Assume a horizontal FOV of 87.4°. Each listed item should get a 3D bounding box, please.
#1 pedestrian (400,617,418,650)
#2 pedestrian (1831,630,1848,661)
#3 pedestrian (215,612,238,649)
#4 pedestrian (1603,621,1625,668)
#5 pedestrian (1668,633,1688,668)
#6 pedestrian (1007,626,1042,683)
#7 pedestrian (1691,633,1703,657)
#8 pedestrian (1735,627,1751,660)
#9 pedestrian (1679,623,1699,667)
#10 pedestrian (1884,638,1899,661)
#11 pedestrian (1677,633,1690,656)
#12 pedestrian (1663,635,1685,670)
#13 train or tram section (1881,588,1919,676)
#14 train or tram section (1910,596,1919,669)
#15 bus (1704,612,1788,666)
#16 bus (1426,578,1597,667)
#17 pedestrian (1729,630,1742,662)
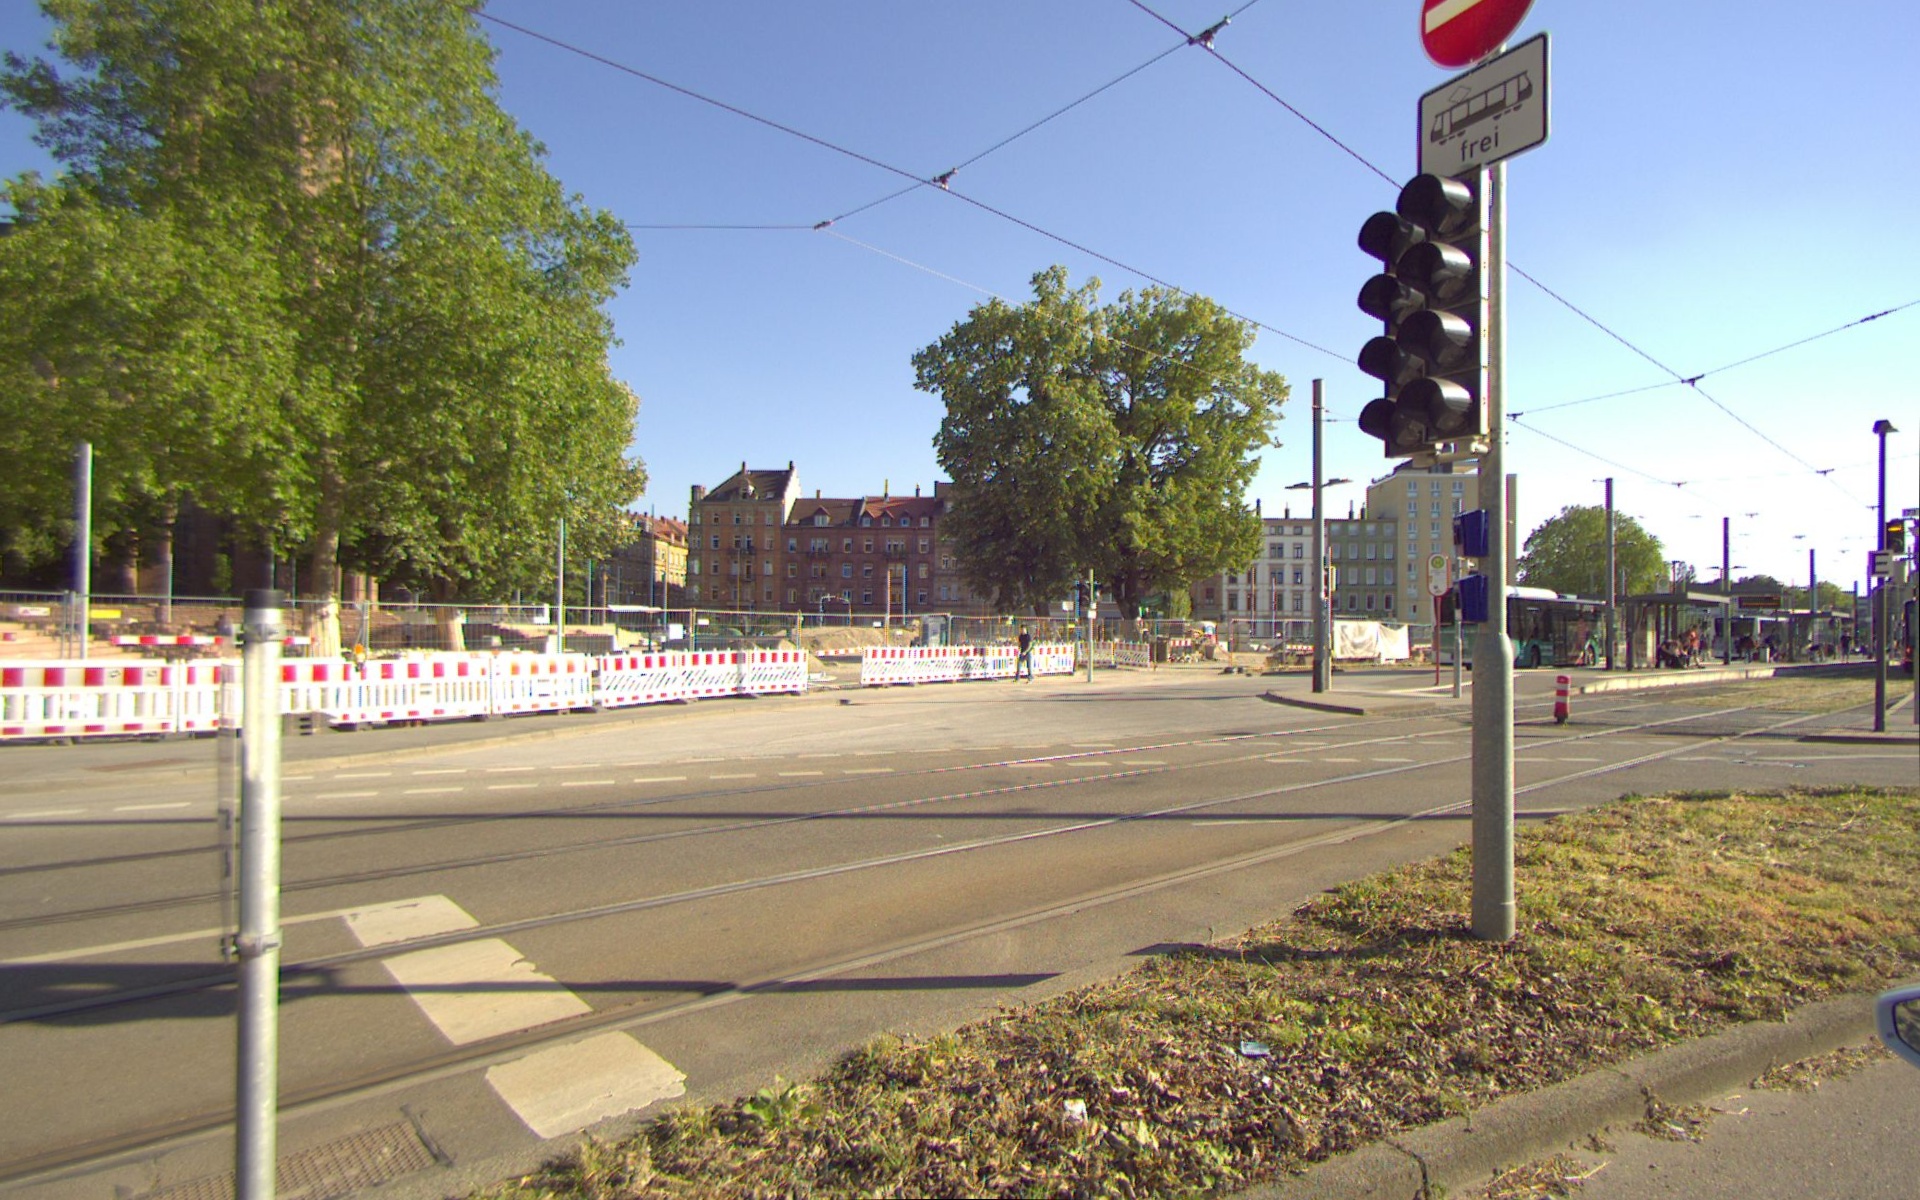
[{"bbox_3d":[-27.759,1.675,50.609,0.751,1.669,0.671,1,-1,-26],"label":"pedestrian"},{"bbox_3d":[51.151,2.628,58.419,0.629,1.772,0.570,-1,-2,34],"label":"pedestrian"},{"bbox_3d":[-33.376,1.400,45.714,0.665,1.669,0.635,1,-1,-18],"label":"pedestrian"},{"bbox_3d":[25.067,1.701,38.472,0.554,1.772,0.534,2,-2,-35],"label":"pedestrian"},{"bbox_3d":[28.178,1.985,39.407,0.564,1.363,0.636,-1,-2,43],"label":"pedestrian"},{"bbox_3d":[2.000,1.687,30.999,0.699,1.719,0.899,-1,-4,33],"label":"pedestrian"},{"bbox_3d":[55.012,3.365,74.991,0.568,1.772,0.632,2,-2,-41],"label":"pedestrian"},{"bbox_3d":[41.640,2.312,53.409,0.629,1.772,0.570,-1,-2,34],"label":"pedestrian"},{"bbox_3d":[29.557,1.813,40.728,0.564,1.772,0.636,-1,-2,43],"label":"pedestrian"},{"bbox_3d":[71.677,3.804,77.253,0.634,1.772,0.728,2,-2,-37],"label":"pedestrian"},{"bbox_3d":[54.695,3.355,75.896,0.567,1.772,0.633,2,-2,-36],"label":"pedestrian"},{"bbox_3d":[27.669,2.021,38.932,0.609,1.358,0.438,-1,-2,44],"label":"pedestrian"},{"bbox_3d":[44.750,1.494,45.827,12.108,3.644,2.855,2,0,-42],"label":"train or tram section"},{"bbox_3d":[53.887,1.822,53.780,12.100,3.644,2.987,2,0,-40],"label":"train or tram section"},{"bbox_3d":[53.956,2.634,68.749,13.376,3.317,2.694,2,0,-44],"label":"bus"},{"bbox_3d":[21.996,0.902,39.750,9.564,3.177,2.631,2,0,-40],"label":"bus"},{"bbox_3d":[44.532,2.637,57.691,0.564,1.772,0.636,-1,-2,41],"label":"pedestrian"}]
